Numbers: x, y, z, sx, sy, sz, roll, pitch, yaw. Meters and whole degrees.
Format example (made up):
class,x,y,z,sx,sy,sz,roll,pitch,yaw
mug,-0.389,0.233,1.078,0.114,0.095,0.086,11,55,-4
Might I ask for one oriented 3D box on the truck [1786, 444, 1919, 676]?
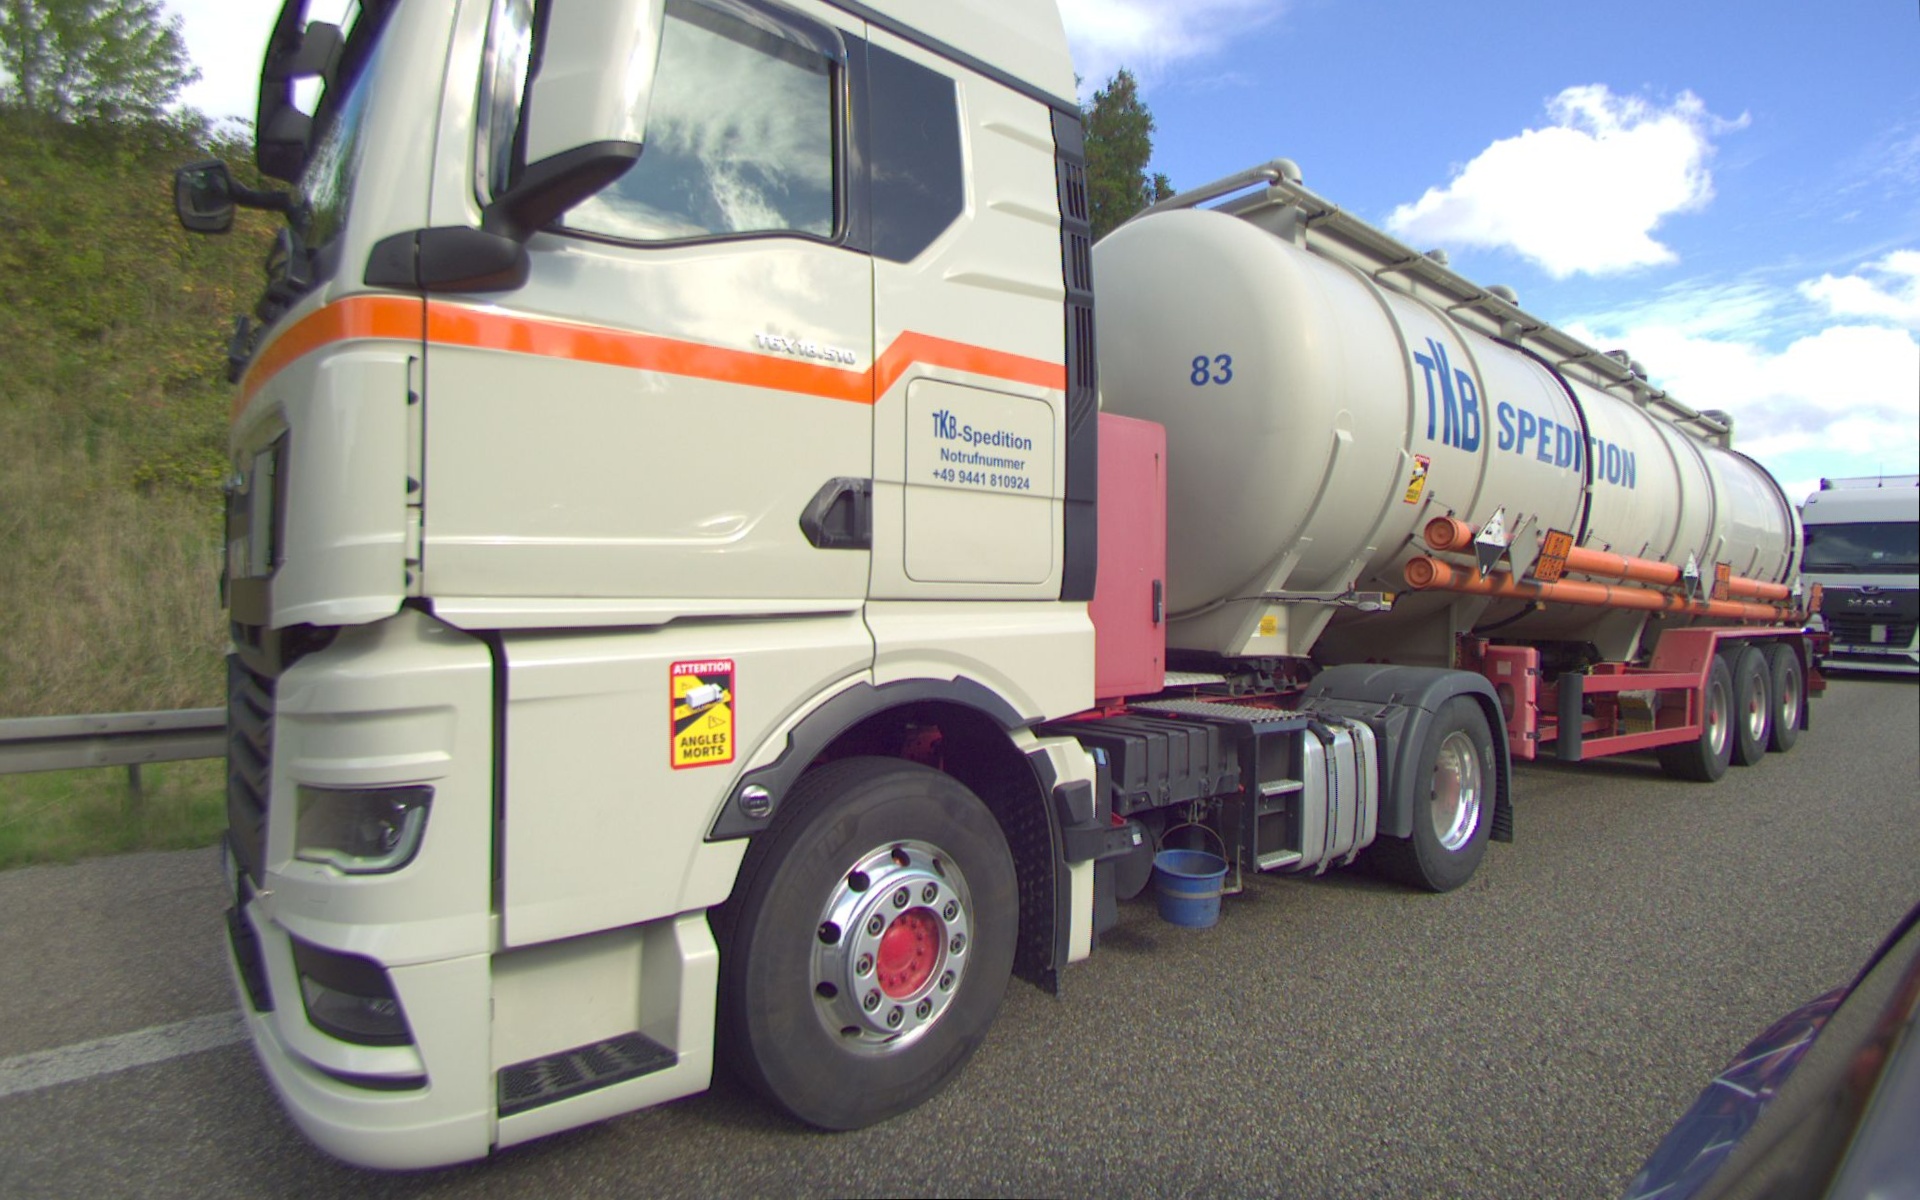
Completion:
class,x,y,z,sx,sy,sz,roll,pitch,yaw
truck,18.921,-0.729,20.139,5.605,4.123,2.840,0,0,-40

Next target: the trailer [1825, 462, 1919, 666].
class,x,y,z,sx,sy,sz,roll,pitch,yaw
trailer,24.429,-0.754,24.718,13.133,4.122,2.832,0,1,-40

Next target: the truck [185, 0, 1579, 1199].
class,x,y,z,sx,sy,sz,roll,pitch,yaw
truck,0.168,-0.714,4.610,5.798,4.094,2.809,0,0,-40

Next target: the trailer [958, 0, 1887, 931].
class,x,y,z,sx,sy,sz,roll,pitch,yaw
trailer,5.094,-0.733,8.716,10.982,4.077,2.804,0,0,-40
